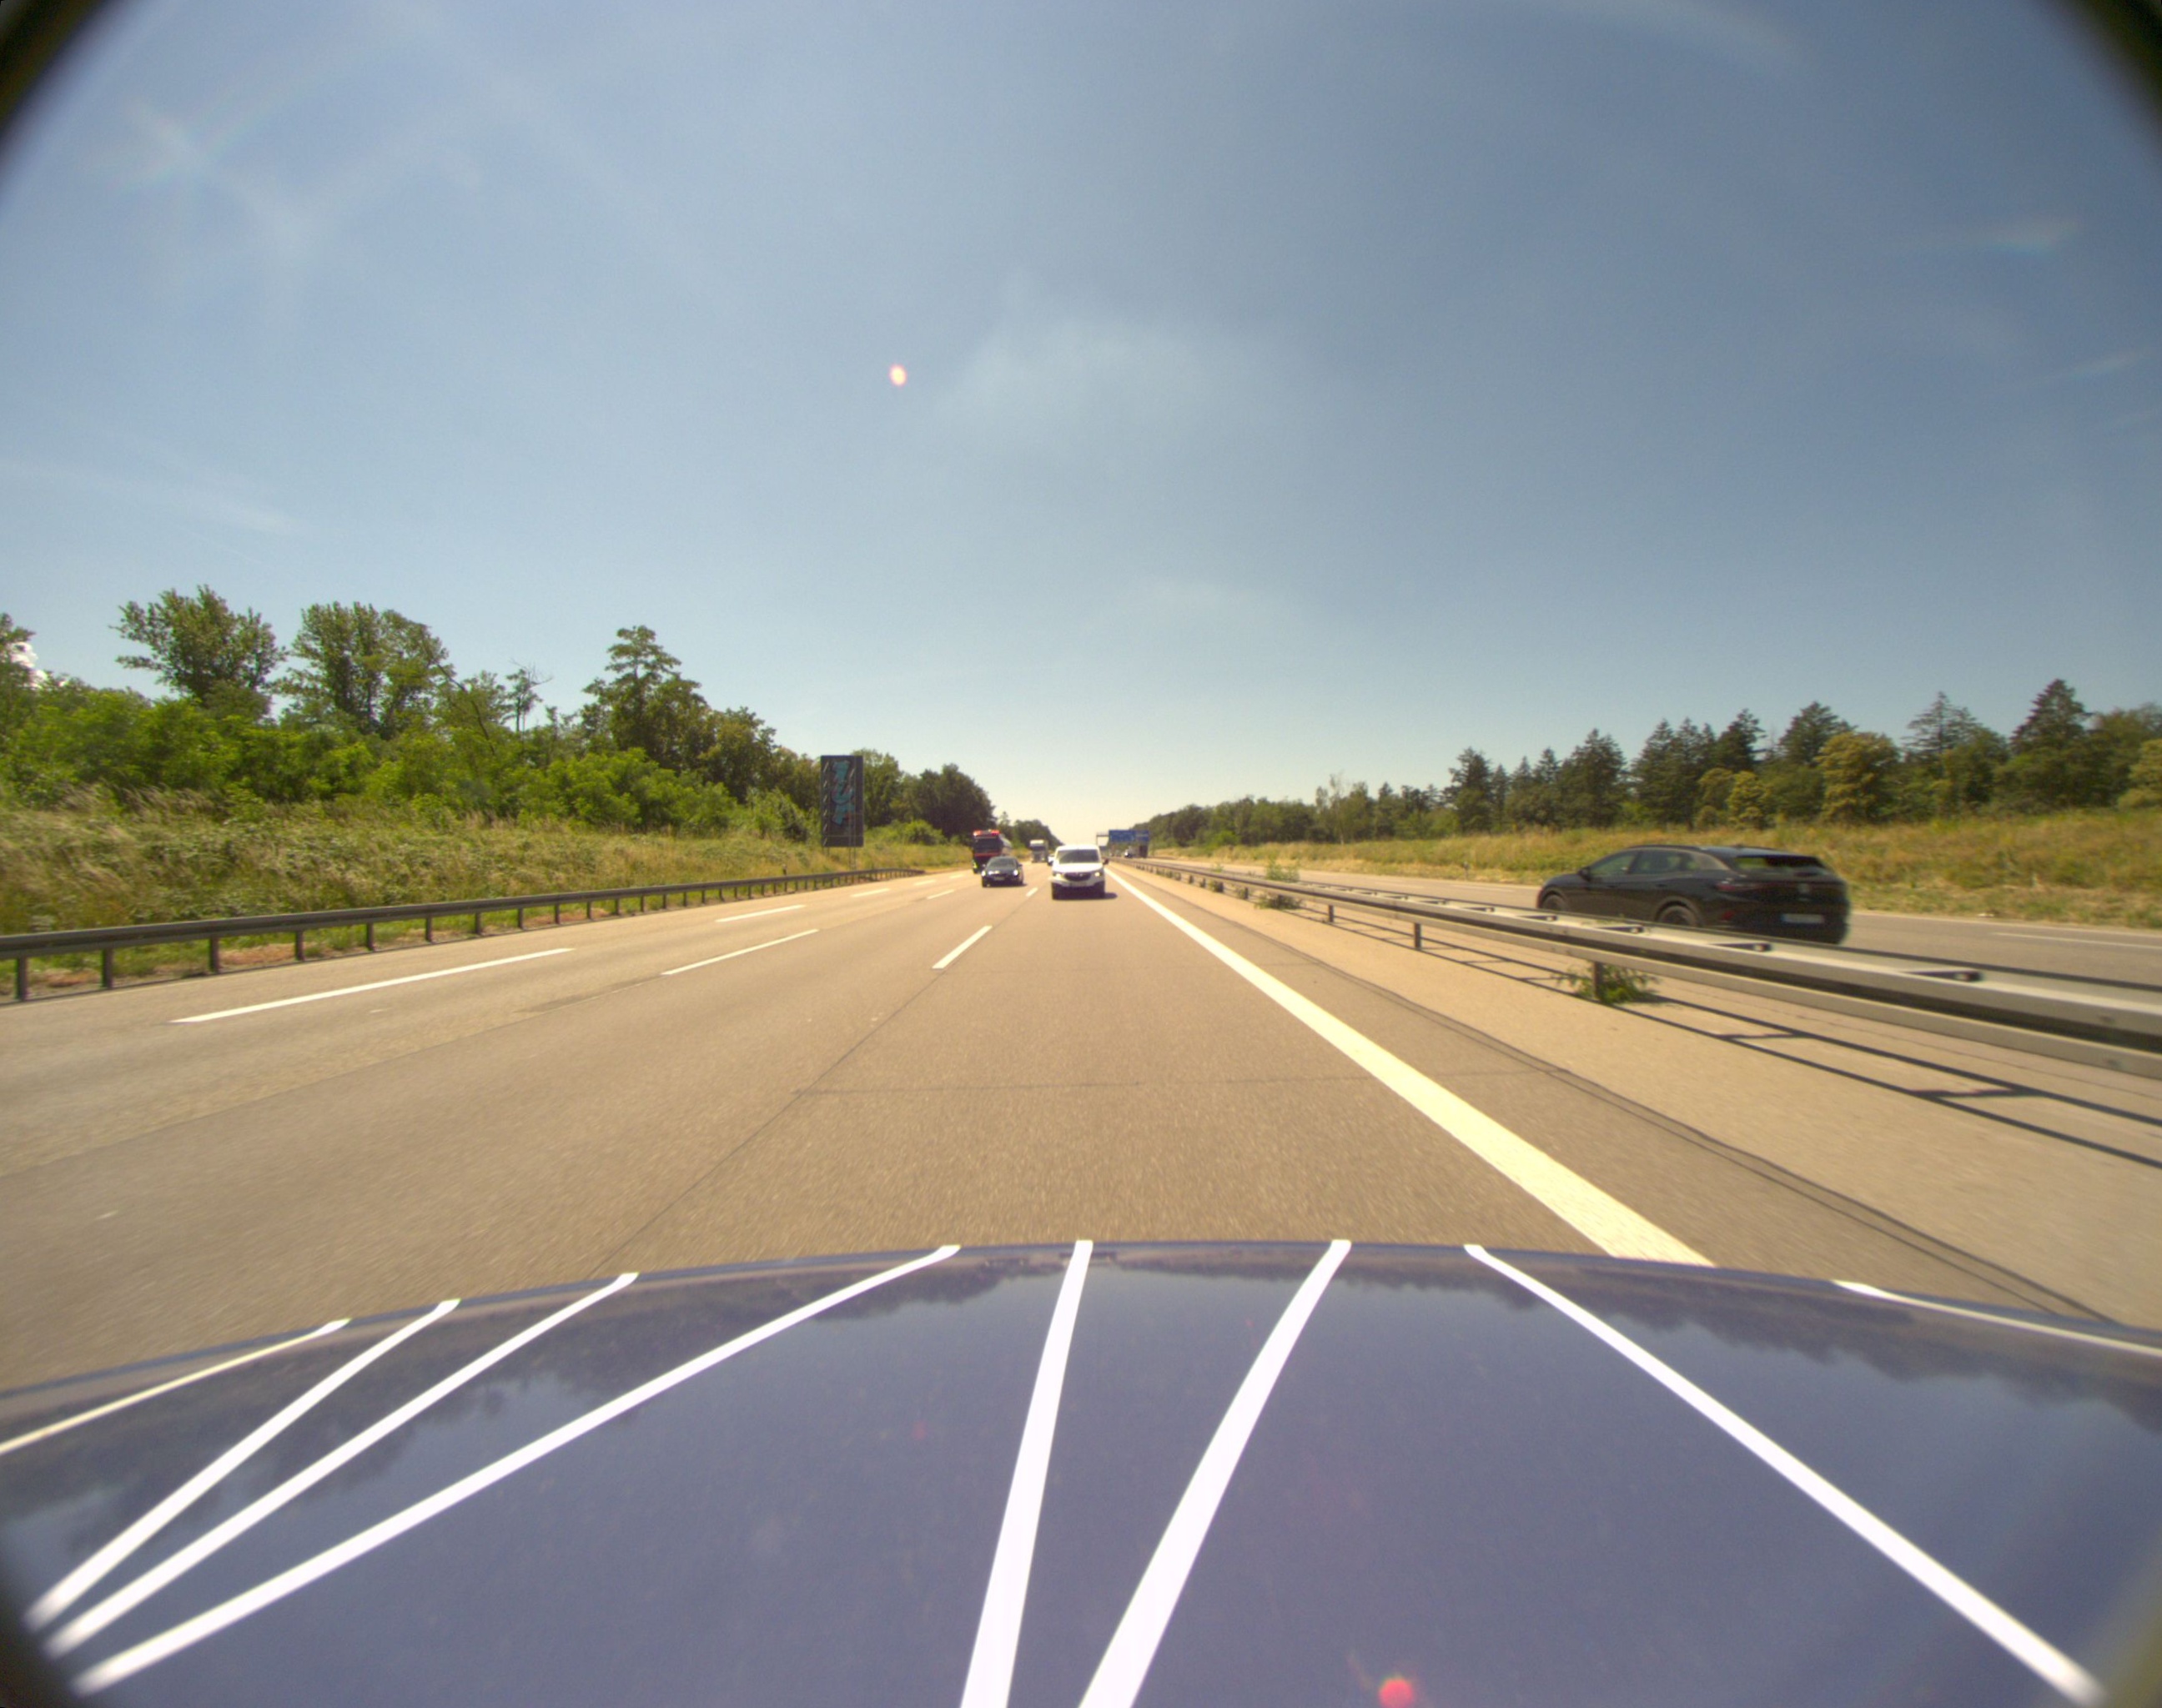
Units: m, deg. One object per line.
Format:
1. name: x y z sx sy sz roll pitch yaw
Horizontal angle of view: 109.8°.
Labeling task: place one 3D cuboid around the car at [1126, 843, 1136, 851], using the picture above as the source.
1. car: 14.422 -1.983 219.387 2.370 2.434 7.132 1 0 0

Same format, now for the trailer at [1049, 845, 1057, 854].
1. trailer: -7.214 -1.173 195.348 1.849 2.196 3.197 -2 1 0

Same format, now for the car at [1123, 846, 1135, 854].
1. car: 11.026 -0.948 173.081 2.370 1.884 5.224 1 0 0

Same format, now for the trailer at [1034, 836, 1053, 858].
1. trailer: -7.065 -1.284 144.638 2.603 3.979 14.079 -2 0 0

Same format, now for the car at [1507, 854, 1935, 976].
1. car: 9.328 0.743 11.963 2.233 1.416 5.298 1 0 0

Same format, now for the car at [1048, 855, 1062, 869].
1. car: -3.890 1.145 114.511 1.998 2.002 4.000 -2 0 0

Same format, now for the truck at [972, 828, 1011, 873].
1. truck: -7.859 -0.294 67.378 2.535 3.712 6.098 -2 0 0

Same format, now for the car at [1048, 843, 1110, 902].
1. car: 0.033 0.578 26.755 1.870 1.807 4.941 -2 0 3

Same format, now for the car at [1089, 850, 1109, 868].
1. car: 1.521 0.385 64.671 1.581 1.412 3.352 -2 0 0

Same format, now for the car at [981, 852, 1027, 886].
1. car: -3.755 0.688 37.538 1.806 1.475 4.271 -2 0 0

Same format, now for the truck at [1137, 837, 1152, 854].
1. truck: 18.843 -2.530 227.009 3.385 4.598 12.185 2 1 0

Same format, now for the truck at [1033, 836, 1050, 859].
1. truck: -7.074 -1.242 137.333 2.603 3.980 6.173 -2 1 0

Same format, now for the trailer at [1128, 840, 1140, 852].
1. trailer: 18.269 -2.732 262.647 3.163 4.174 14.124 2 0 0

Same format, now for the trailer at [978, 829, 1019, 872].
1. trailer: -7.824 -0.330 73.344 2.535 3.712 11.547 -2 0 0
